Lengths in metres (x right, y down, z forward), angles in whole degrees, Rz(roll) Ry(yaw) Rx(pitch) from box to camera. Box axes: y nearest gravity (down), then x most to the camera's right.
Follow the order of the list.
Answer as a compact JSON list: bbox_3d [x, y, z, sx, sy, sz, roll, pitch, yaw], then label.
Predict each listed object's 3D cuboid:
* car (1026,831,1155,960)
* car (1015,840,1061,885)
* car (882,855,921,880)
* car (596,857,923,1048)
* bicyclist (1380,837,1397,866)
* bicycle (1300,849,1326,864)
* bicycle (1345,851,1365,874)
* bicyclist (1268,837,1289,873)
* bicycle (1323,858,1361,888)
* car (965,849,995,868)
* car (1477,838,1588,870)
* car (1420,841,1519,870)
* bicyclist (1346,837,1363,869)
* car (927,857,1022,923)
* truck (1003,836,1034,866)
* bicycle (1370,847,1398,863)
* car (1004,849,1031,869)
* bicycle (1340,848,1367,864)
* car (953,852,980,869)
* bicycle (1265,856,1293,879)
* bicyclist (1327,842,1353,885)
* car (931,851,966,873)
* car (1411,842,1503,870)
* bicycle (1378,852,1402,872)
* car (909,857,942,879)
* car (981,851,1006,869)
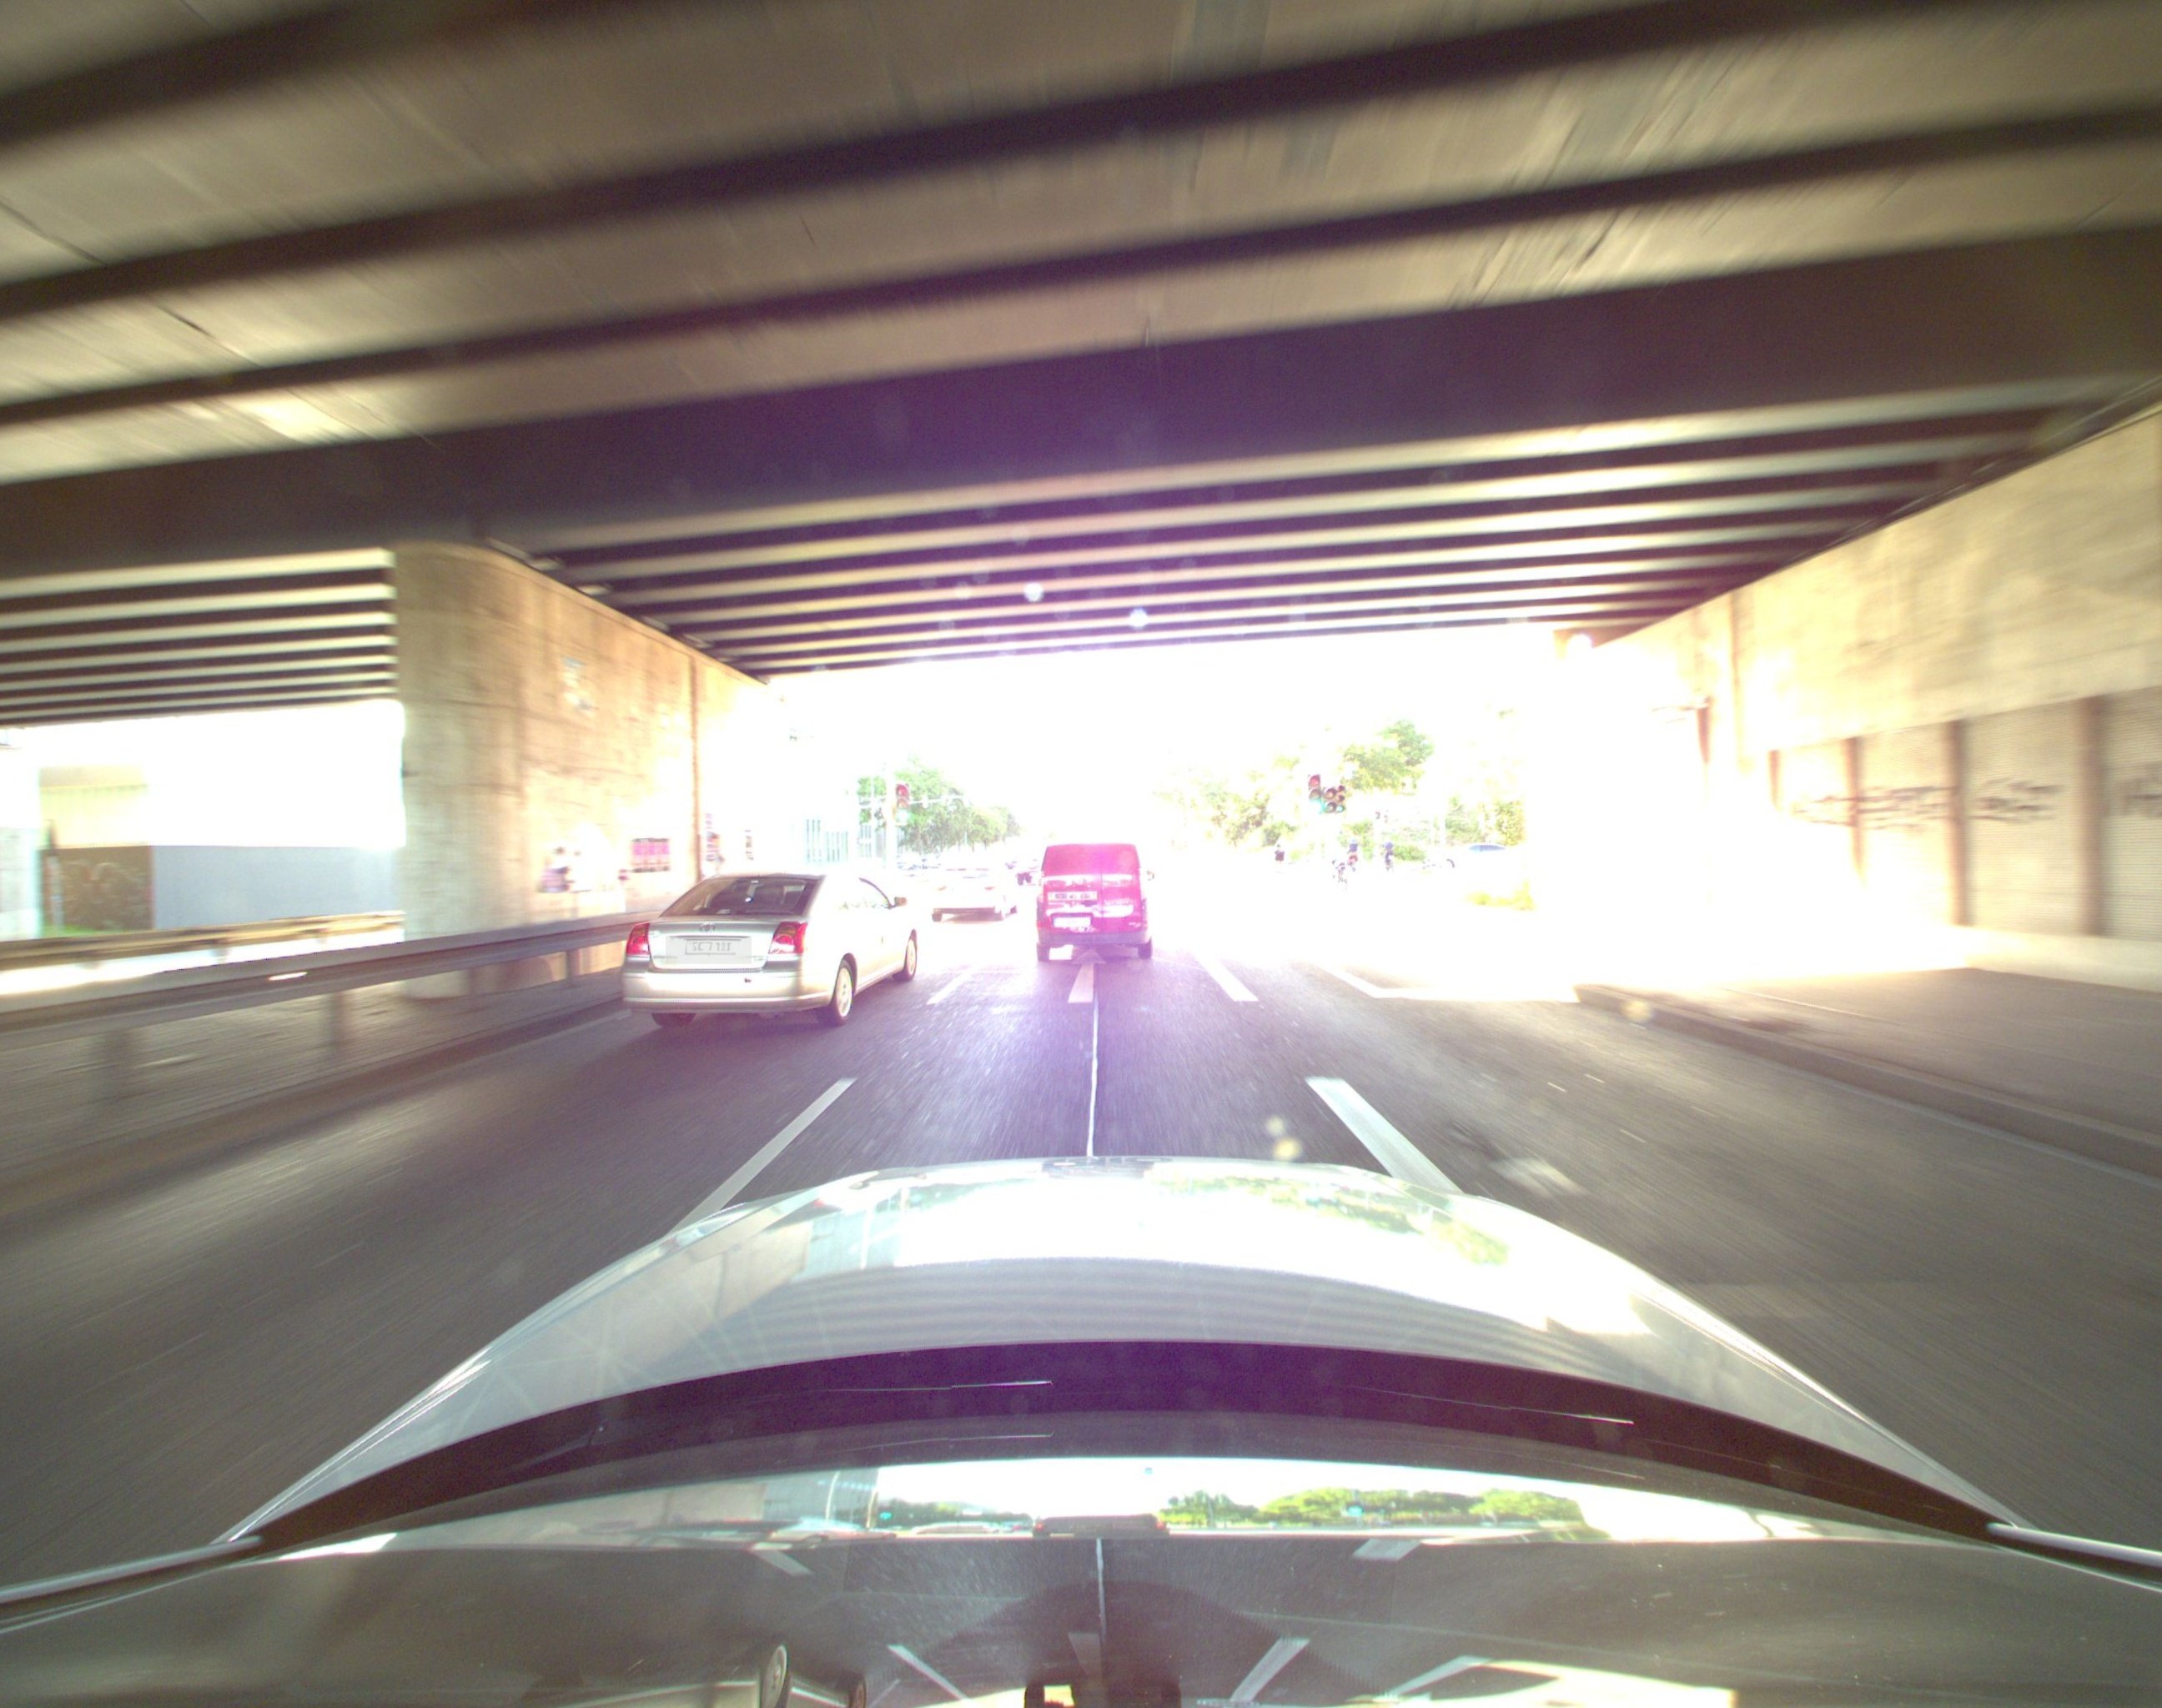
[{"bbox_3d":[0.186,0.626,13.502,1.798,1.794,4.001,-1,-1,1],"label":"car"},{"bbox_3d":[-1.945,0.417,38.045,1.794,1.989,4.590,-1,-1,1],"label":"car"},{"bbox_3d":[-13.907,1.012,63.375,1.818,1.737,4.630,-4,0,1],"label":"car"},{"bbox_3d":[-2.991,0.816,8.680,1.727,1.480,4.318,-1,-1,0],"label":"car"},{"bbox_3d":[15.834,-0.128,41.941,0.646,1.481,0.619,-1,0,5],"label":"bicyclist"},{"bbox_3d":[16.608,0.201,58.270,1.734,1.023,0.595,-1,-1,10],"label":"bicycle"},{"bbox_3d":[12.850,0.417,38.219,0.667,1.023,2.063,-1,-1,14],"label":"bicycle"},{"bbox_3d":[8.775,0.049,36.238,0.591,1.613,0.940,0,-1,-8],"label":"bicyclist"},{"bbox_3d":[9.425,0.690,29.435,0.591,1.023,1.745,0,-1,-8],"label":"bicycle"},{"bbox_3d":[-8.224,0.363,66.554,1.629,1.443,4.079,-4,0,2],"label":"car"},{"bbox_3d":[22.590,0.001,40.928,4.522,1.514,1.832,-1,-1,8],"label":"car"},{"bbox_3d":[21.096,0.099,44.365,4.522,1.514,1.832,-1,-1,8],"label":"car"},{"bbox_3d":[12.838,-0.048,38.212,0.660,1.474,0.754,-1,-1,13],"label":"bicyclist"},{"bbox_3d":[-2.561,0.828,20.364,1.807,1.438,3.731,-1,0,0],"label":"car"},{"bbox_3d":[-6.846,-0.330,90.234,2.400,3.026,6.660,-4,0,2],"label":"truck"},{"bbox_3d":[20.770,0.068,55.860,1.733,1.023,0.595,-1,-1,12],"label":"bicycle"},{"bbox_3d":[-5.176,0.399,66.558,1.629,1.443,3.721,-4,0,2],"label":"car"},{"bbox_3d":[18.989,0.143,56.751,1.734,1.023,0.595,-1,-1,10],"label":"bicycle"},{"bbox_3d":[-10.505,0.554,75.219,1.639,1.404,3.981,-4,0,3],"label":"car"},{"bbox_3d":[8.796,0.601,36.229,0.591,1.023,1.745,0,-1,-8],"label":"bicycle"},{"bbox_3d":[9.397,0.360,29.594,0.591,1.548,0.767,0,-1,-8],"label":"bicyclist"},{"bbox_3d":[-10.783,0.651,66.476,1.817,1.625,4.532,-4,0,3],"label":"car"},{"bbox_3d":[21.611,0.147,46.952,4.522,1.514,1.832,-1,-1,8],"label":"car"},{"bbox_3d":[15.846,0.391,41.814,0.664,1.023,1.752,-1,0,4],"label":"bicycle"},{"bbox_3d":[-13.697,1.213,72.124,1.818,1.737,4.531,-4,0,2],"label":"car"},{"bbox_3d":[-7.697,0.560,72.153,1.630,1.443,4.077,-4,0,0],"label":"car"}]
